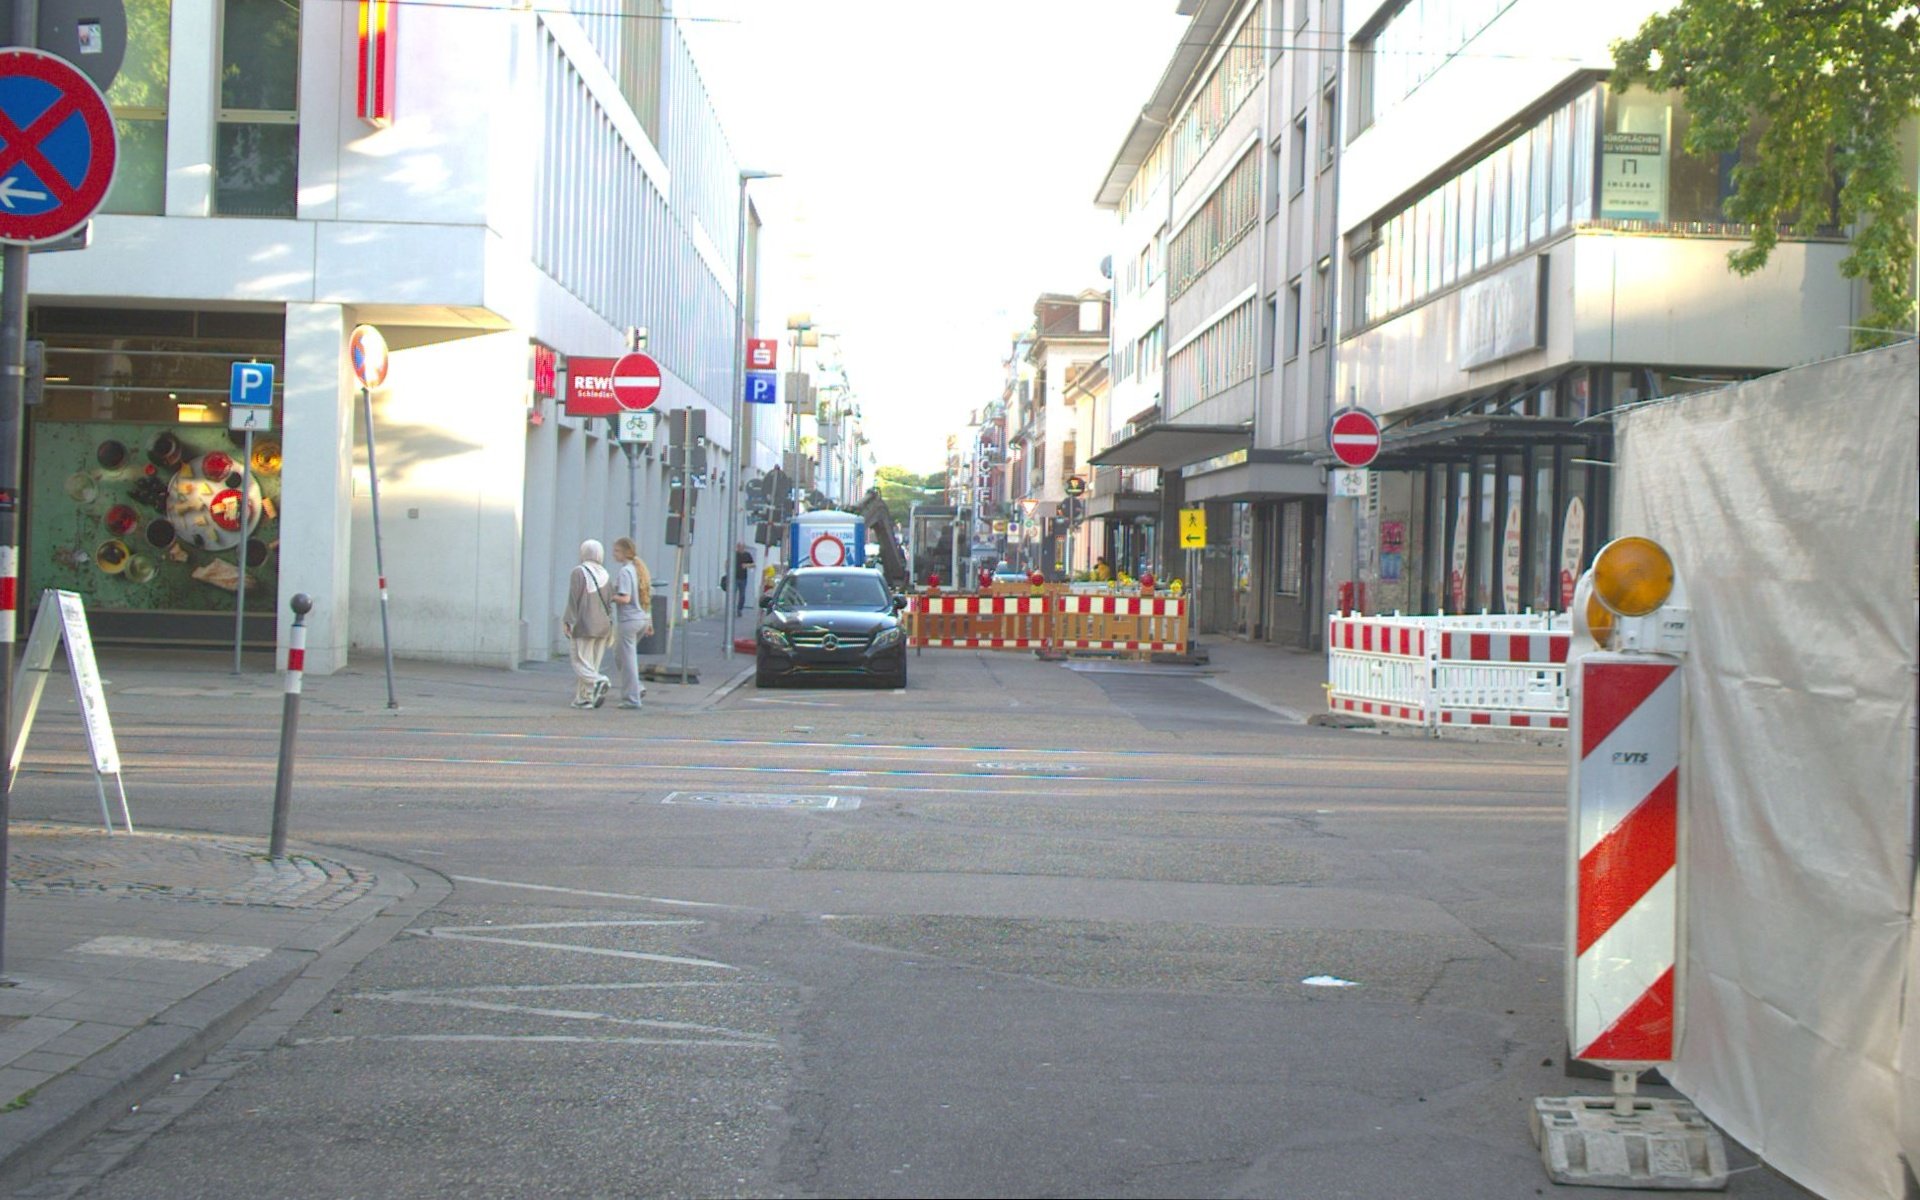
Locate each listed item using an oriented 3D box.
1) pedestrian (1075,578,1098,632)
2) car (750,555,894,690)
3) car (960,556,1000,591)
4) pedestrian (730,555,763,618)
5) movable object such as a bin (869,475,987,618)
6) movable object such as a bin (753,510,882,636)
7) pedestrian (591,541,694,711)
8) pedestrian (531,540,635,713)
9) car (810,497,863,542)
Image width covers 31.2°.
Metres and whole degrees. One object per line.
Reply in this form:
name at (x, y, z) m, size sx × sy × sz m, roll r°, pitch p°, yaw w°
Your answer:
pedestrian at (3.461, 0.125, 93.767) m, size 0.524 × 1.459 × 0.718 m, roll 2°, pitch 1°, yaw 7°
car at (-1.700, 0.246, 41.699) m, size 1.629 × 1.545 × 3.143 m, roll 1°, pitch 1°, yaw -4°
car at (1.042, -1.410, 181.301) m, size 1.993 × 1.770 × 4.000 m, roll 0°, pitch 1°, yaw -1°
pedestrian at (-4.984, -0.328, 80.324) m, size 0.716 × 1.459 × 0.525 m, roll 0°, pitch 1°, yaw 2°
movable object such as a bin at (-0.647, -1.041, 67.076) m, size 2.156 × 2.654 × 4.573 m, roll 1°, pitch 1°, yaw -1°
movable object such as a bin at (-2.324, -0.461, 56.928) m, size 1.993 × 2.007 × 4.000 m, roll 0°, pitch 1°, yaw 0°
pedestrian at (-3.075, 0.242, 33.276) m, size 0.610 × 1.622 × 0.873 m, roll 0°, pitch 1°, yaw -38°
pedestrian at (-3.607, 0.244, 32.879) m, size 0.610 × 1.622 × 0.873 m, roll 0°, pitch 1°, yaw -38°
car at (-4.899, -3.190, 136.622) m, size 1.993 × 1.770 × 4.000 m, roll 0°, pitch 1°, yaw -1°
